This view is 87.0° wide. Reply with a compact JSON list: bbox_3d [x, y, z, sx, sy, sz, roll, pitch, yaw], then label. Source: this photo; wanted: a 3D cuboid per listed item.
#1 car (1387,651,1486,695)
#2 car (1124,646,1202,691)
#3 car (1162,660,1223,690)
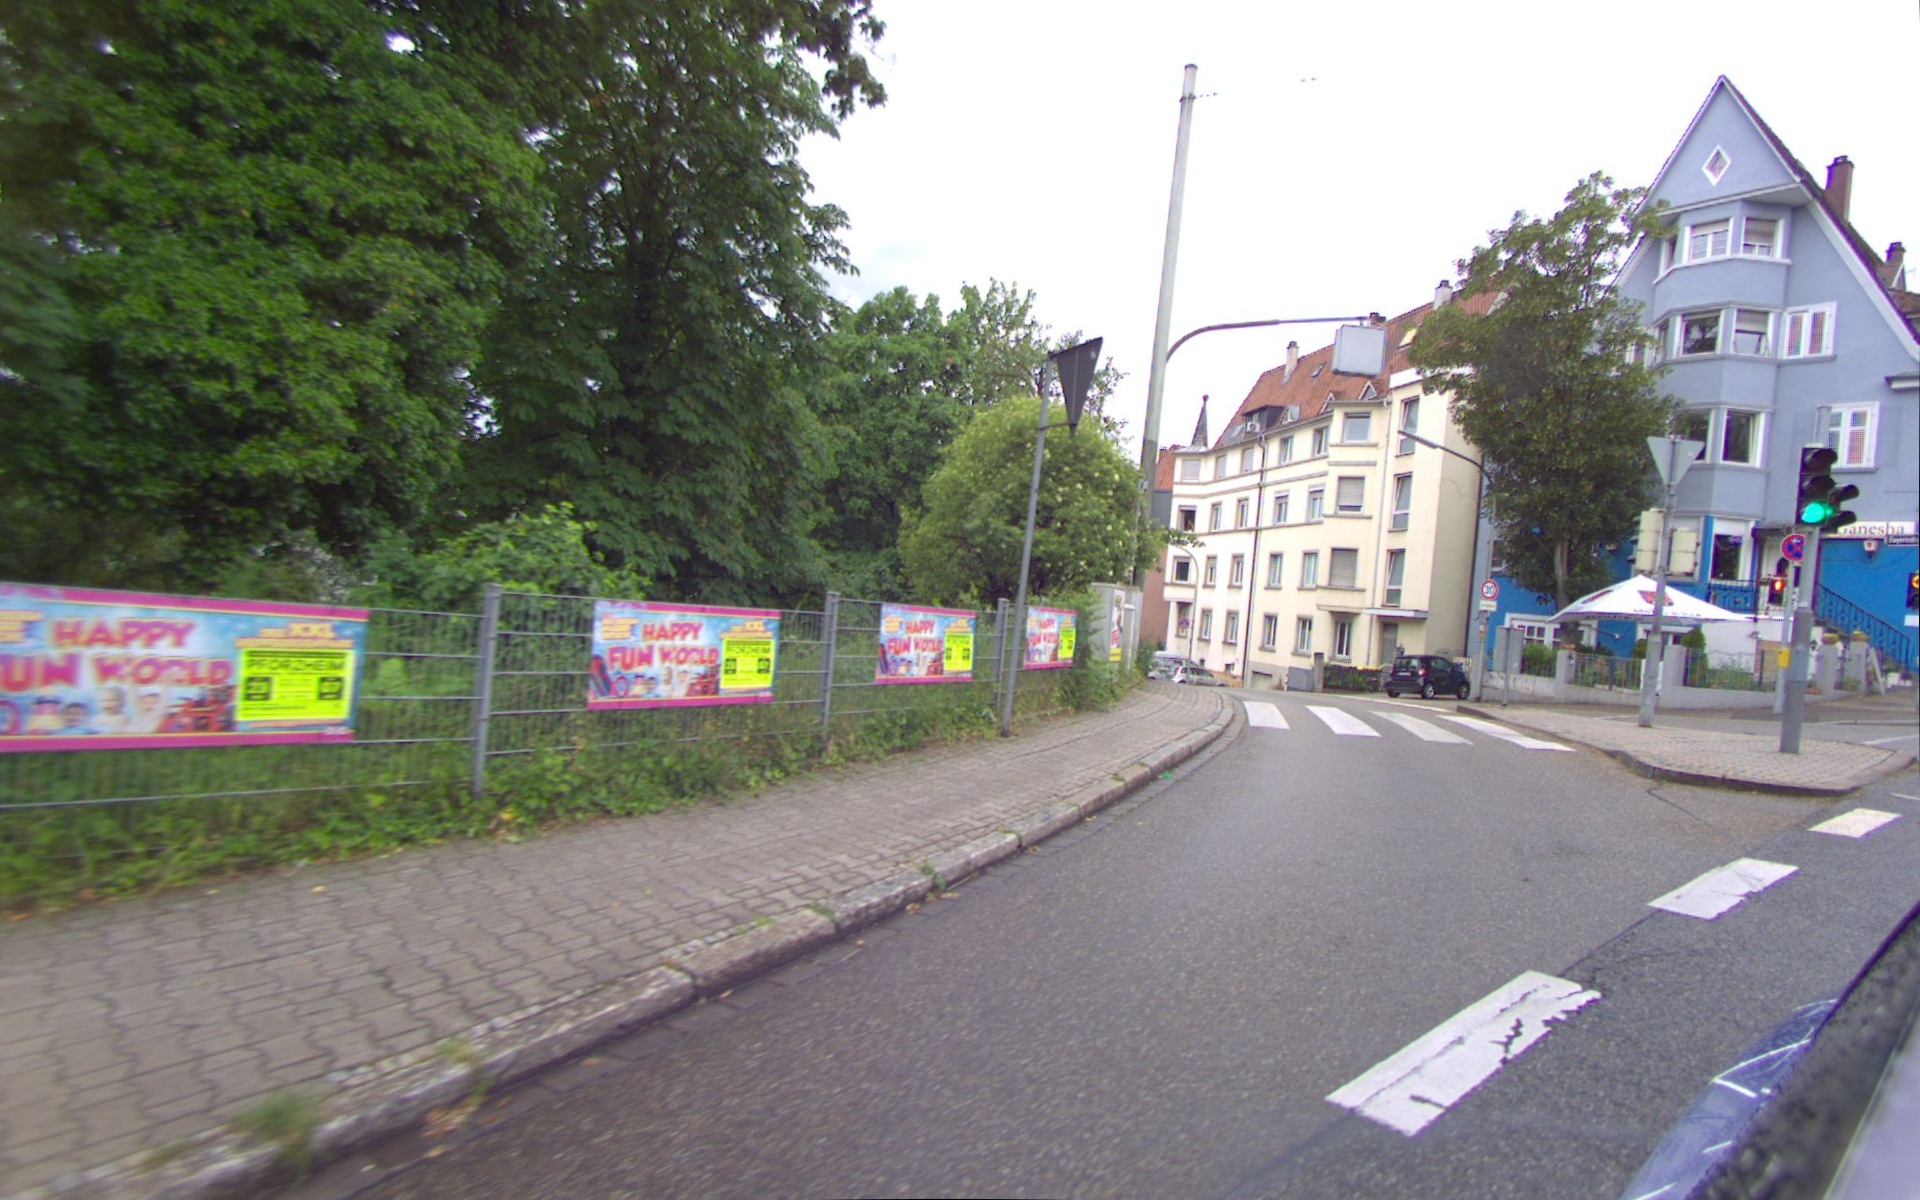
[{"bbox_3d":[17.044,2.605,36.220,3.078,1.518,1.641,2,-4,-27],"label":"car"},{"bbox_3d":[12.021,4.082,60.036,4.090,2.264,1.942,5,-8,-8],"label":"car"},{"bbox_3d":[13.189,4.248,57.395,2.990,1.423,1.308,6,-5,-13],"label":"car"}]
